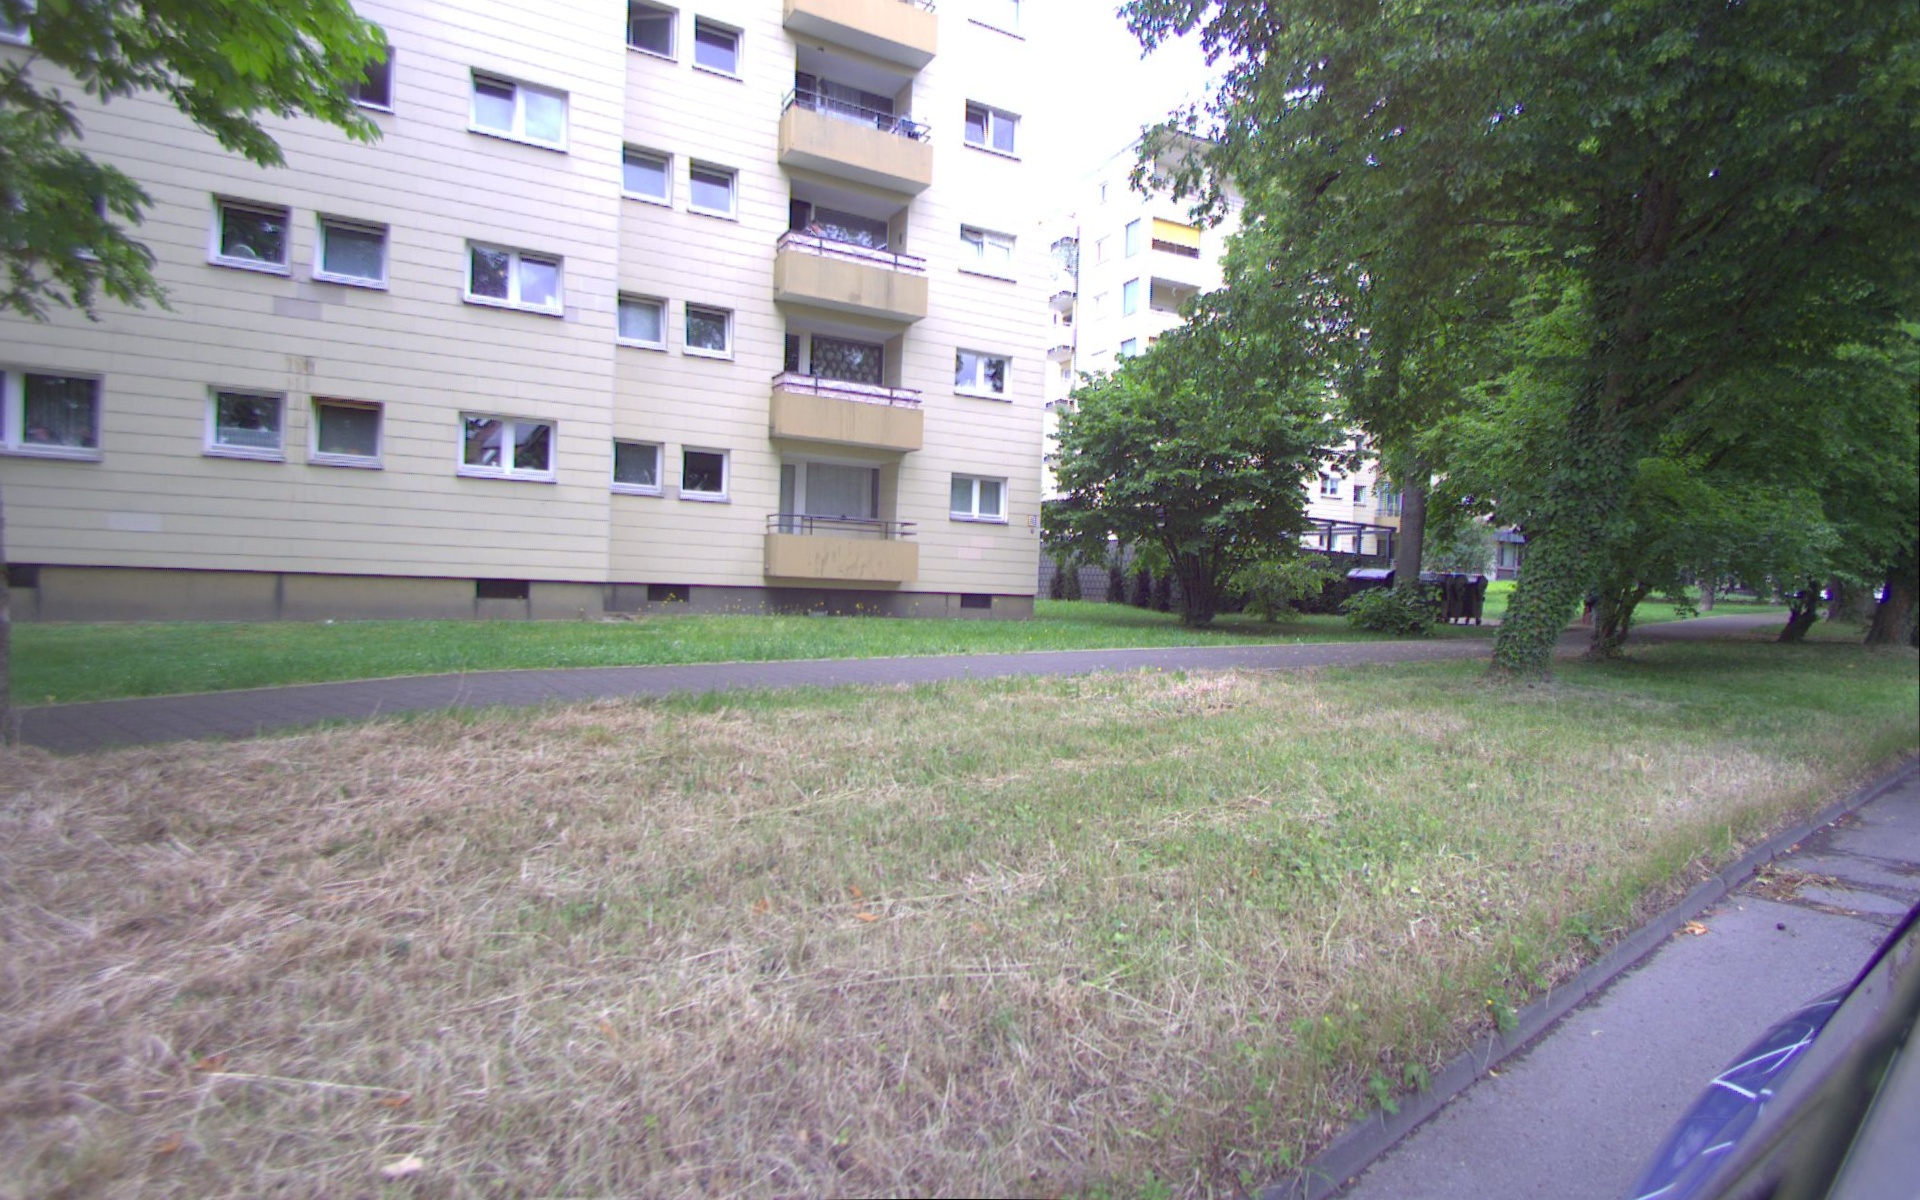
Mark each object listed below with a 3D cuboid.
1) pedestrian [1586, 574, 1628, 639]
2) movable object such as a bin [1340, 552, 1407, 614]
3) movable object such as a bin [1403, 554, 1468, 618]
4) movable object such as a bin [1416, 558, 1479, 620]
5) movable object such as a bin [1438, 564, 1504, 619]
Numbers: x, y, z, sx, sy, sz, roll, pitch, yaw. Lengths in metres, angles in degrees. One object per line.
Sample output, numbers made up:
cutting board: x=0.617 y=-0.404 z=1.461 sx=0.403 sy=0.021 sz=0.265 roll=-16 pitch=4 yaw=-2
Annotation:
pedestrian: x=14.362 y=0.121 z=22.464 sx=0.687 sy=1.398 sz=0.597 roll=2 pitch=2 yaw=42
movable object such as a bin: x=11.791 y=-0.505 z=28.858 sx=1.003 sy=1.662 sz=1.433 roll=-1 pitch=4 yaw=-44
movable object such as a bin: x=12.993 y=-0.404 z=27.669 sx=1.004 sy=1.662 sz=1.276 roll=-1 pitch=4 yaw=-44
movable object such as a bin: x=13.724 y=-0.337 z=28.505 sx=1.058 sy=1.662 sz=1.238 roll=-1 pitch=4 yaw=-44
movable object such as a bin: x=14.781 y=-0.271 z=29.286 sx=1.182 sy=1.492 sz=1.326 roll=-2 pitch=4 yaw=-44
